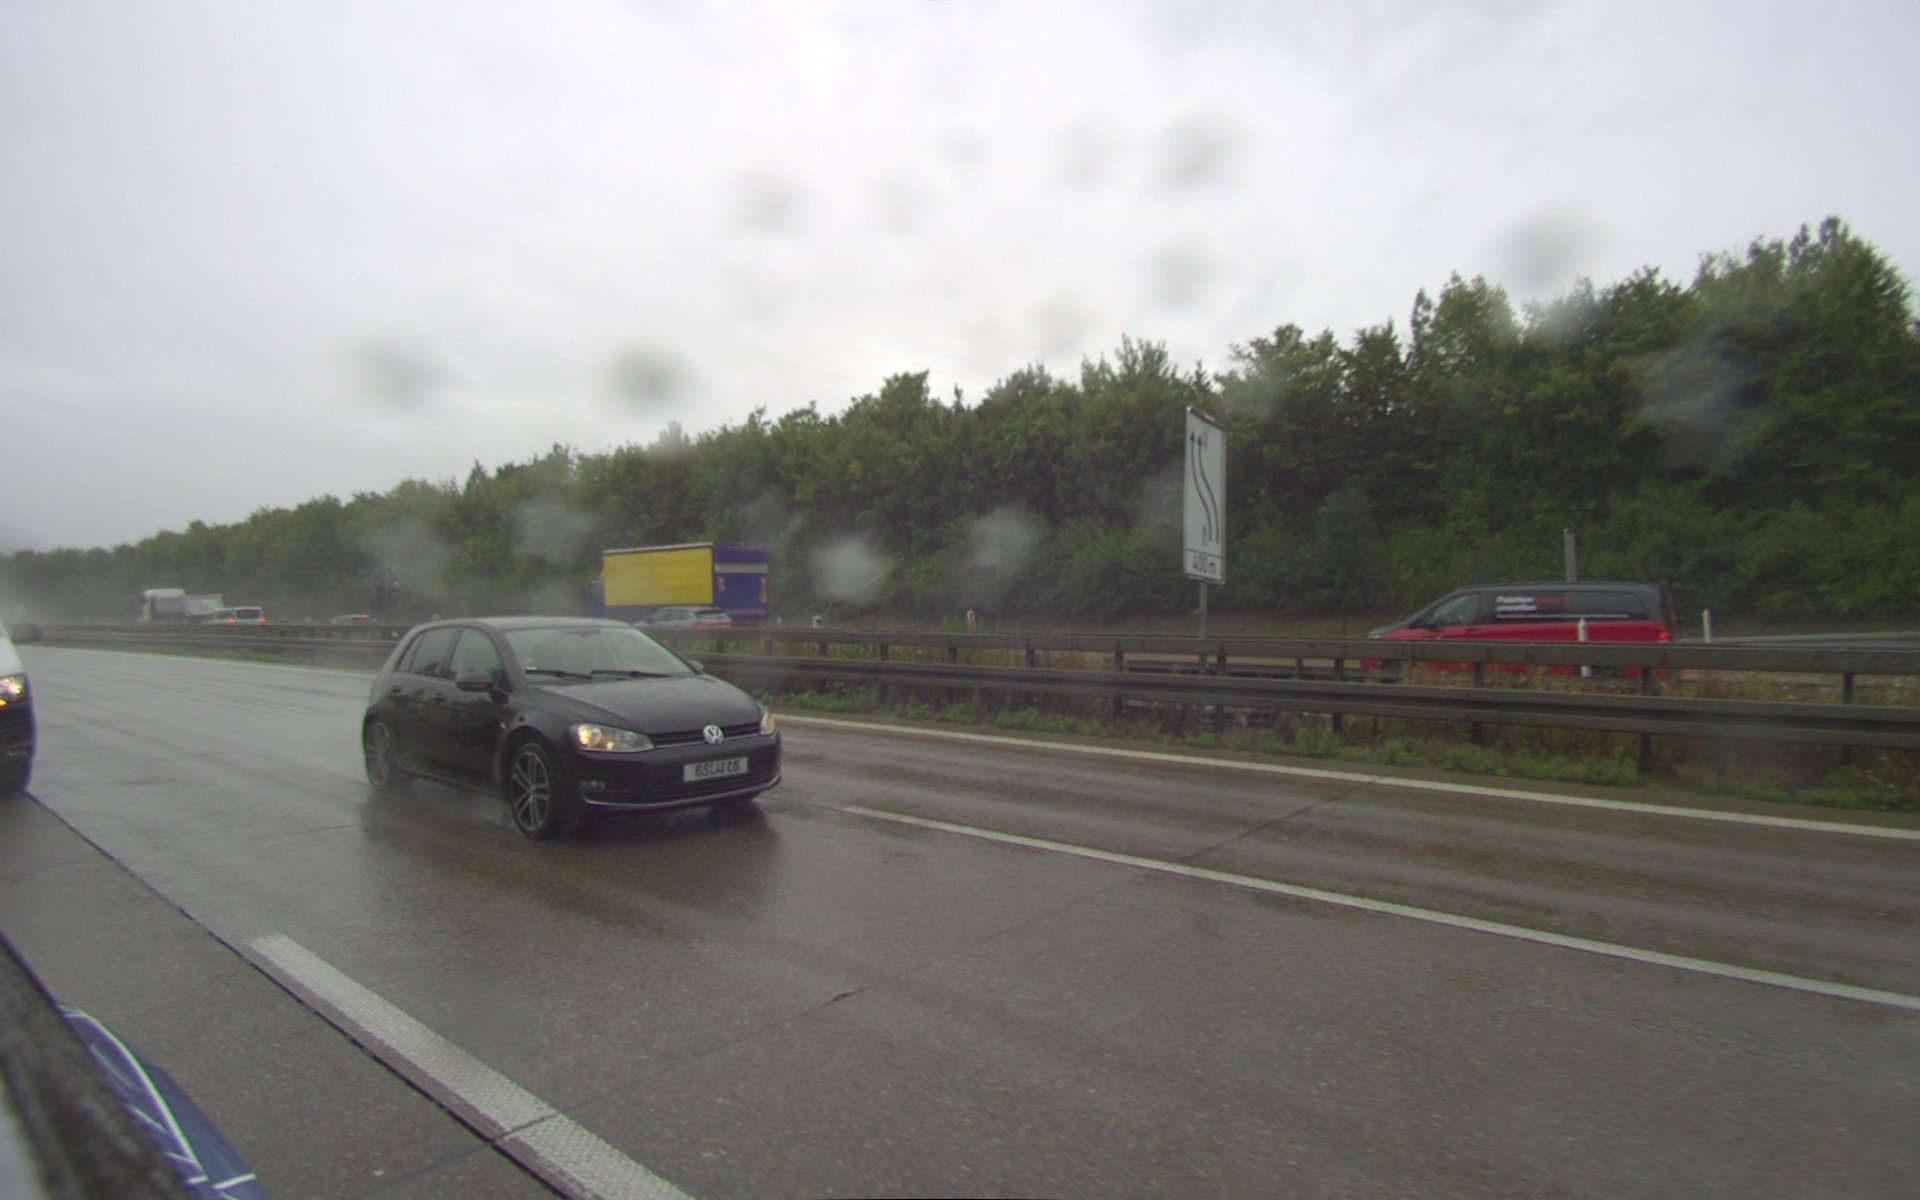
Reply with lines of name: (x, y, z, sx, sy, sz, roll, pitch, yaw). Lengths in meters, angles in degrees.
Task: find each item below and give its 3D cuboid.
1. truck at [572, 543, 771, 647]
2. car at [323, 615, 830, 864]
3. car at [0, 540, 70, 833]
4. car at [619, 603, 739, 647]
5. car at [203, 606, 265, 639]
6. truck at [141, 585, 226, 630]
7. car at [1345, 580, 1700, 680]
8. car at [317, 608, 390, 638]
truck: (-11.782, -0.103, 40.567, 9.791, 3.728, 2.559, -2, 0, 40)
car: (-3.107, 0.828, 7.751, 4.317, 1.398, 1.723, -1, -2, 40)
car: (-8.588, 0.622, 7.740, 5.038, 1.908, 1.881, -2, 0, 40)
car: (-9.515, 0.826, 34.099, 4.422, 1.349, 1.734, -2, 0, 41)
car: (-46.723, 1.443, 65.107, 5.193, 2.029, 1.957, -1, 0, 40)
truck: (-62.062, 0.643, 80.718, 11.502, 3.340, 2.747, -2, 0, 39)
car: (9.834, 0.504, 18.024, 5.267, 1.543, 1.734, -2, 0, 41)
car: (-31.917, 1.202, 53.182, 4.469, 1.495, 1.897, -1, 1, 40)
